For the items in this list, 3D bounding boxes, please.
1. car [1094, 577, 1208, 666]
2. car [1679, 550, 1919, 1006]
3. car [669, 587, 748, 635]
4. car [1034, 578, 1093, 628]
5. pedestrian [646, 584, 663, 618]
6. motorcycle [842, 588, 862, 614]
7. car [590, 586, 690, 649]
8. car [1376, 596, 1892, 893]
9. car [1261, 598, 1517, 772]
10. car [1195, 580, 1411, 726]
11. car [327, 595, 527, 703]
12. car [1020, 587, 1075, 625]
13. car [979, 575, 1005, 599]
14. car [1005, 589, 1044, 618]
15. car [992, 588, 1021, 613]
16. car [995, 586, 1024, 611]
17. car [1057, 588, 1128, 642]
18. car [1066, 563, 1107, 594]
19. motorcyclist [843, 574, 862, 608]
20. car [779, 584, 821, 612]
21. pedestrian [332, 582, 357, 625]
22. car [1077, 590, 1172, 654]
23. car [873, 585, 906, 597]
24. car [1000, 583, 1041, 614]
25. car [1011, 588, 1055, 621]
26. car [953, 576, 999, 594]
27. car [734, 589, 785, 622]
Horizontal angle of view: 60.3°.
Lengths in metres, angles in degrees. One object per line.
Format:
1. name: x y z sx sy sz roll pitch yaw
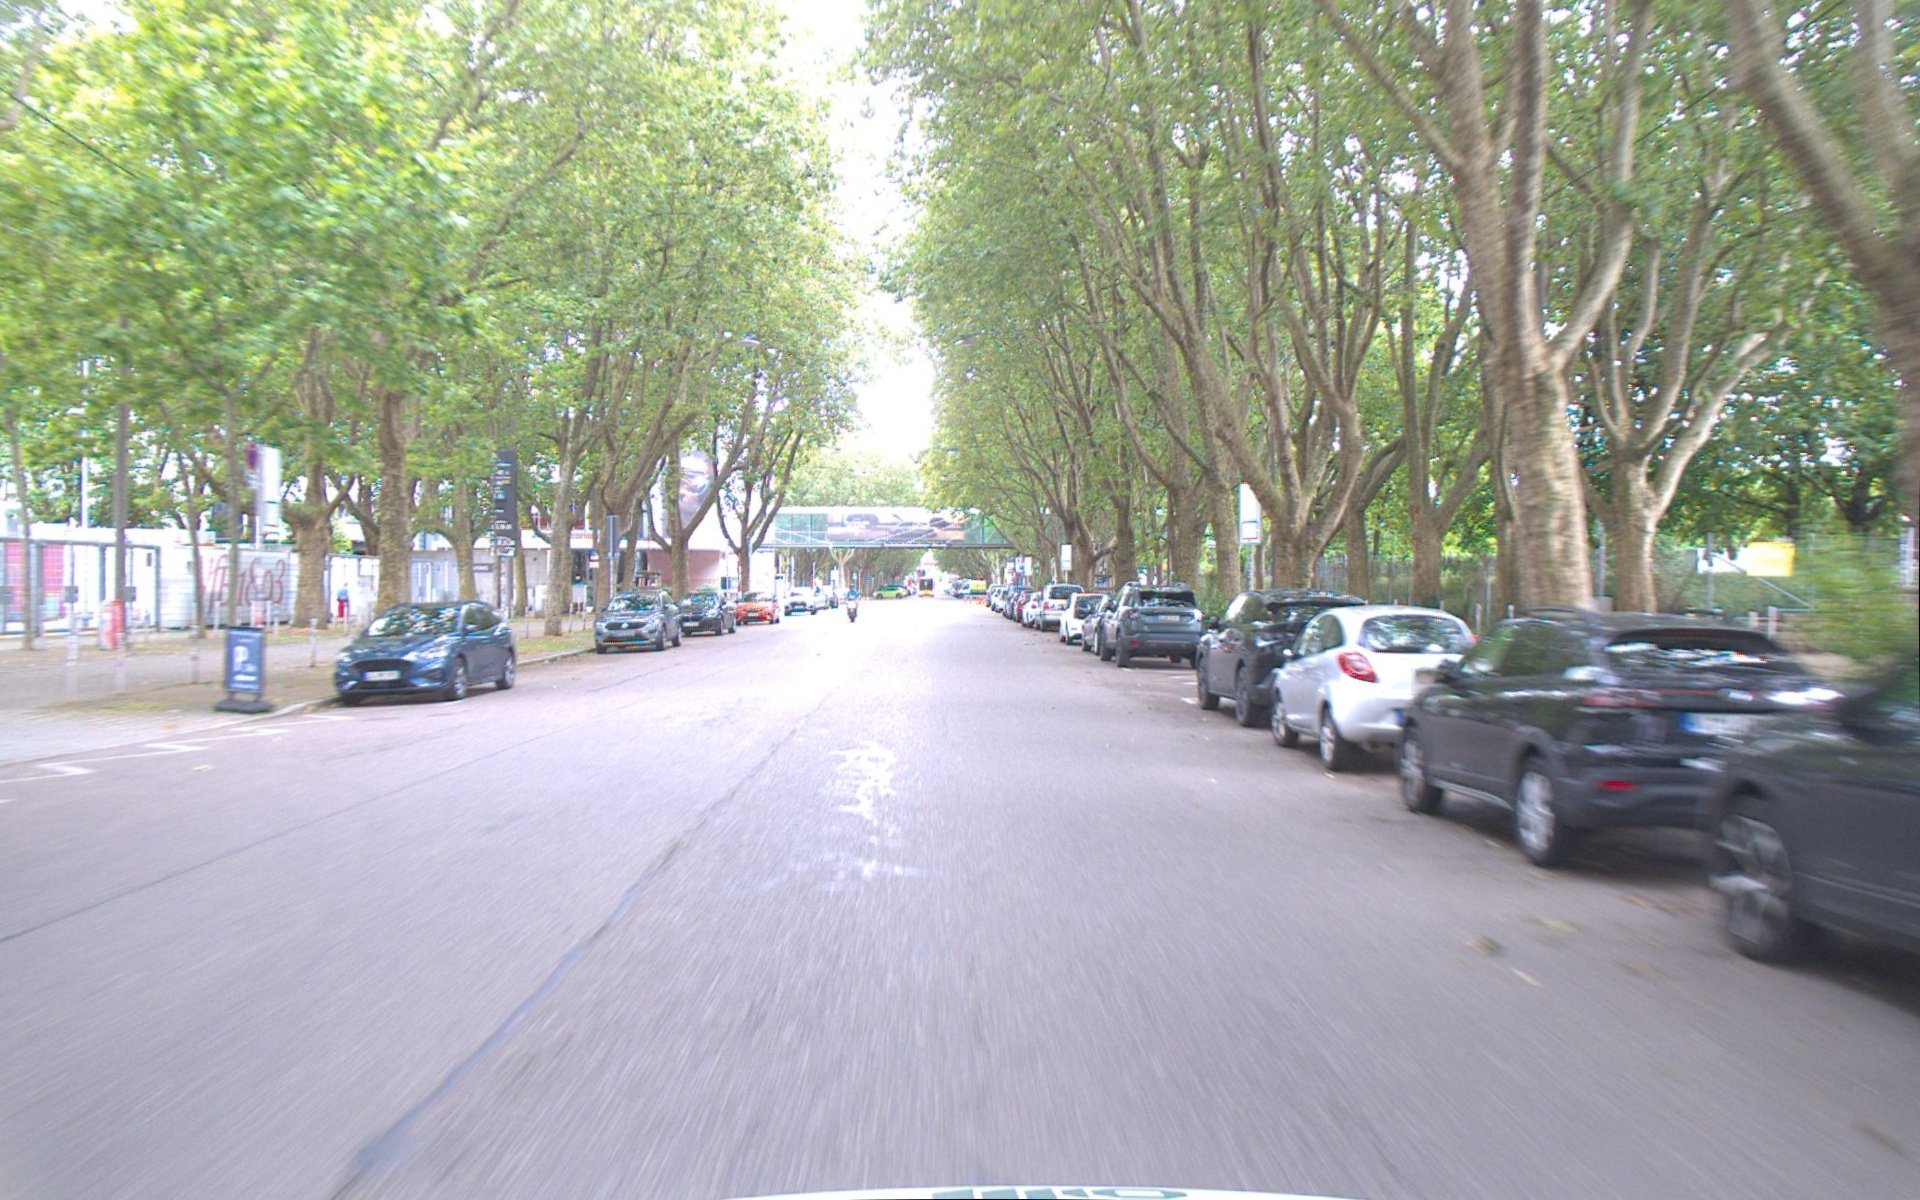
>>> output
1. car: 3.964 0.404 34.987 1.673 1.728 4.629 2 0 -2
2. car: 4.349 0.671 5.720 1.720 1.648 4.438 2 0 -1
3. car: -8.337 0.339 55.177 1.789 1.491 4.628 -1 0 1
4. car: 3.795 0.091 61.364 1.864 1.769 4.506 0 0 -1
5. pedestrian: -14.668 0.039 79.411 0.580 1.648 0.792 0 0 8
6. motorcycle: -4.833 0.029 74.028 0.856 1.098 3.050 0 0 -4
7. car: -8.390 0.429 43.637 1.840 1.553 4.150 -1 1 -1
8. car: 4.210 0.780 11.162 1.634 1.535 4.353 2 0 -1
9. car: 4.180 0.762 16.684 1.583 1.466 3.710 2 1 0
10. car: 4.318 0.599 21.547 1.741 1.702 4.636 0 0 -2
11. car: -8.191 0.690 25.854 1.689 1.512 4.574 0 1 -1
12. car: 3.511 0.222 67.051 1.839 1.452 4.585 0 0 -2
13. car: 2.521 -1.052 130.782 1.810 1.814 5.210 1 0 -1
14. car: 3.286 0.154 85.012 1.838 1.452 4.479 0 0 0
15. car: 3.184 0.037 114.233 1.875 1.646 4.748 0 0 -1
16. car: 3.169 -0.103 106.438 1.771 1.553 4.095 0 0 -1
17. car: 3.775 0.402 47.708 1.673 1.452 3.888 1 0 -1
18. car: 6.662 -1.145 87.503 1.766 1.583 3.999 0 1 -2
19. motorcyclist: -4.823 -0.393 74.116 0.853 1.506 1.264 0 0 -4
20. car: -9.380 -0.138 97.469 2.031 1.590 4.756 0 1 0
21. pedestrian: -22.596 0.135 60.685 0.654 1.571 0.660 0 0 0
22. car: 3.988 0.501 40.759 1.673 1.440 4.359 1 1 -3
23. car: -9.847 -1.221 230.864 4.604 1.612 1.864 0 0 0
24. car: 3.339 -0.086 91.912 1.941 1.709 4.730 0 0 -2
25. car: 3.424 0.184 78.341 1.819 1.507 4.176 0 0 -1
26. car: 2.315 -2.230 241.133 6.687 2.557 2.315 0 0 -3
27. car: -8.833 0.218 73.071 1.771 1.378 4.000 0 1 -1
